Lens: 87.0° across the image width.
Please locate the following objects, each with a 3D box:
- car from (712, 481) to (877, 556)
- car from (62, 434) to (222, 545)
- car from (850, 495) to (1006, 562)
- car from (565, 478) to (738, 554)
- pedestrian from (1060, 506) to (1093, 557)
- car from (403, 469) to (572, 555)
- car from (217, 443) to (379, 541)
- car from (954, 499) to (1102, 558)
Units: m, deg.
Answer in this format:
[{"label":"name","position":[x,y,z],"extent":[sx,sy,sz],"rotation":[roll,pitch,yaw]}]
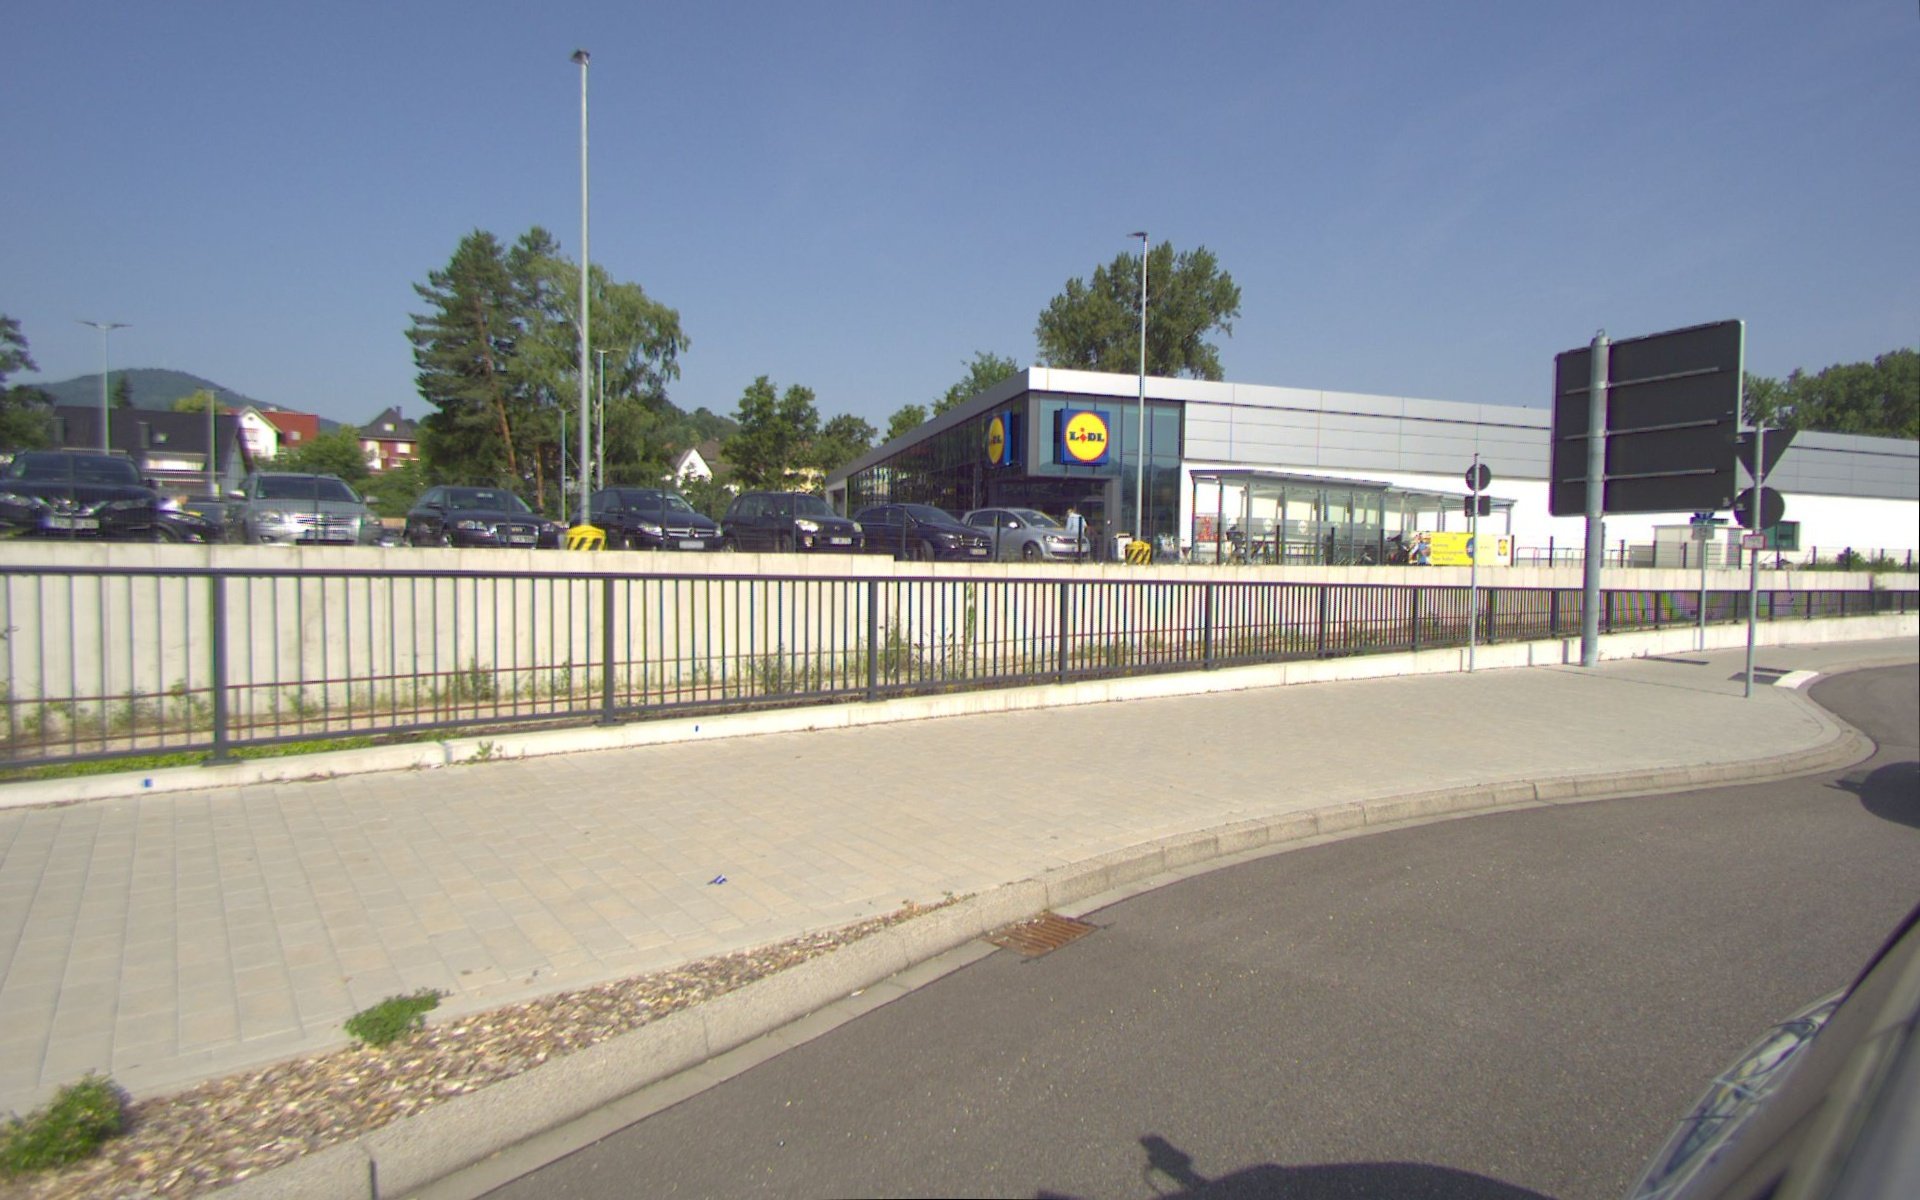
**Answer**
[{"label":"car","position":[-3.621,-1.702,21.642],"extent":[1.694,1.421,4.015],"rotation":[-1,3,-40]},{"label":"car","position":[-11.946,-1.524,14.831],"extent":[1.630,1.358,4.047],"rotation":[-1,3,-39]},{"label":"car","position":[-0.834,-1.654,23.813],"extent":[1.459,1.421,4.071],"rotation":[-1,3,-40]},{"label":"car","position":[-6.061,-1.582,19.573],"extent":[1.713,1.261,4.223],"rotation":[-1,3,-40]},{"label":"pedestrian","position":[3.068,-1.802,26.715],"extent":[0.645,1.328,0.549],"rotation":[-2,4,-38]},{"label":"car","position":[-8.213,-1.465,17.415],"extent":[1.699,1.261,3.976],"rotation":[-1,3,-40]},{"label":"car","position":[-10.372,-1.593,15.712],"extent":[1.635,1.261,4.289],"rotation":[-1,3,-40]},{"label":"car","position":[1.686,-1.826,26.199],"extent":[1.651,1.381,3.815],"rotation":[-1,3,-40]}]
